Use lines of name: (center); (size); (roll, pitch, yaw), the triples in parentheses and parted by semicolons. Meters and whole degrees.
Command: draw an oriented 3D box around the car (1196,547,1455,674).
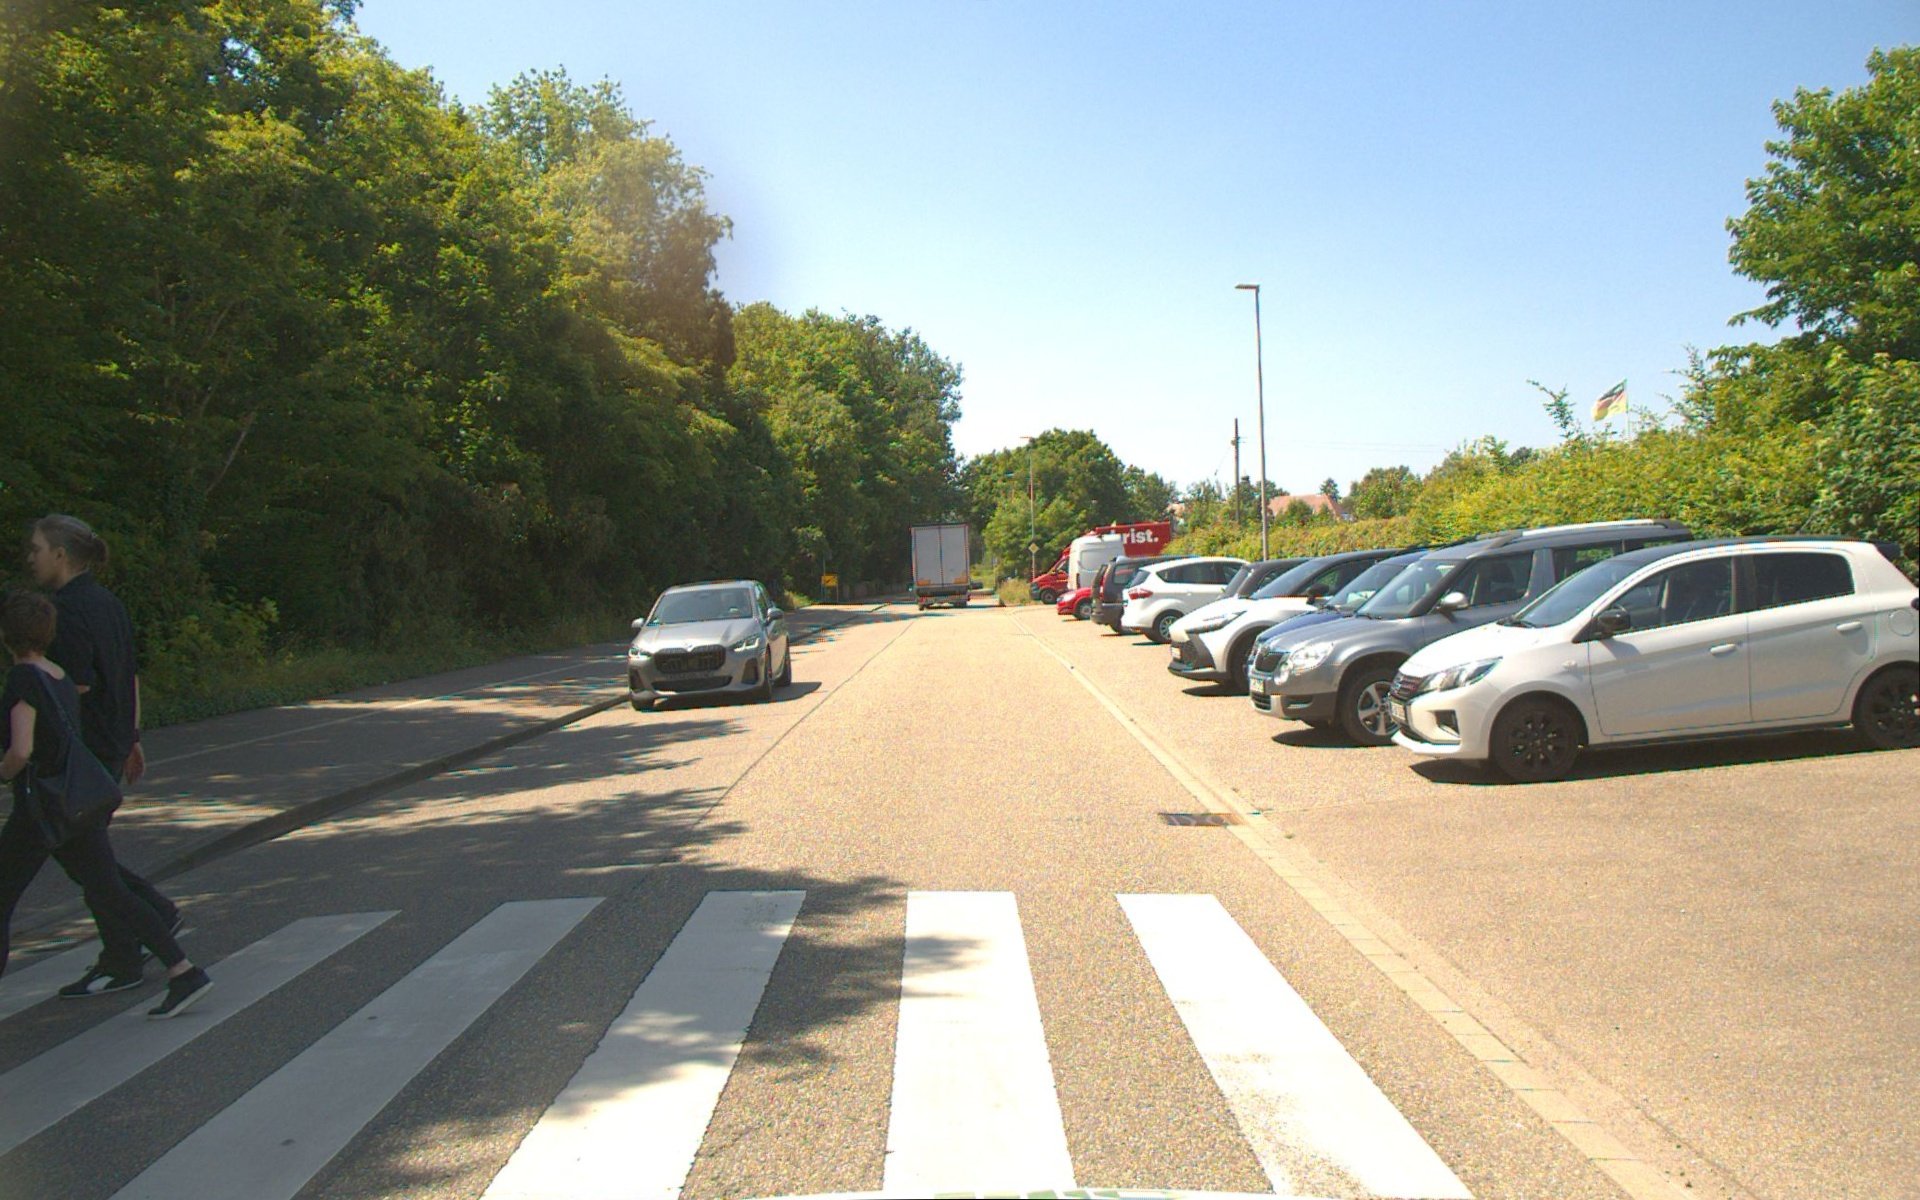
car: (5.139, 0.121, 23.565); (3.317, 1.529, 1.589); (-4, 1, 3)

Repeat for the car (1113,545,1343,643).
car: (5.297, -0.134, 33.017); (4.191, 1.605, 1.765); (-4, 1, -2)

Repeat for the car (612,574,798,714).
car: (-3.354, 0.512, 22.550); (1.853, 1.558, 4.196); (-6, 1, -1)

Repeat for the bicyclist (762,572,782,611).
bicyclist: (-7.863, -0.358, 69.336); (0.635, 1.592, 0.837); (-2, 1, 4)

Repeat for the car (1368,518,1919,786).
car: (4.956, 0.328, 11.860); (3.613, 1.475, 1.611); (-5, 1, 3)

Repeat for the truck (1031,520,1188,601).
truck: (6.941, -1.844, 76.649); (6.984, 3.500, 2.332); (-1, 1, 10)

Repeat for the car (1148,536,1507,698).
car: (4.494, 0.175, 20.561); (3.888, 1.549, 1.862); (-6, 1, -6)

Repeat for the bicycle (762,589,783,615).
bicycle: (-7.850, 0.084, 69.327); (0.549, 1.045, 1.840); (-2, 1, 4)

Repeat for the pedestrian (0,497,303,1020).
pedestrian: (-3.347, 0.595, 6.626); (1.063, 1.896, 0.782); (-4, 0, -10)

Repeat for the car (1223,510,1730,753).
car: (4.516, 0.240, 14.763); (3.885, 1.668, 1.662); (-6, 1, -6)

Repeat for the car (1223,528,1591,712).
car: (4.717, 0.185, 17.696); (3.387, 1.553, 1.538); (-5, 1, -6)

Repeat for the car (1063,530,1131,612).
car: (5.115, -1.101, 62.620); (1.914, 2.780, 7.169); (-4, 1, 1)

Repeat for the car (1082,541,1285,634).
car: (5.255, -0.301, 39.228); (4.366, 1.836, 1.951); (-4, 0, -5)

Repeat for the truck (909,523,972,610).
truck: (-0.803, -1.550, 79.761); (2.677, 3.811, 13.247); (-1, 1, 1)

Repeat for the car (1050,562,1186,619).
car: (4.938, -0.316, 52.088); (3.974, 1.459, 1.835); (-4, 1, -3)

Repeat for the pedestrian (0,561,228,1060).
pedestrian: (-3.247, 0.719, 5.936); (0.877, 1.639, 0.779); (-4, 0, -10)
